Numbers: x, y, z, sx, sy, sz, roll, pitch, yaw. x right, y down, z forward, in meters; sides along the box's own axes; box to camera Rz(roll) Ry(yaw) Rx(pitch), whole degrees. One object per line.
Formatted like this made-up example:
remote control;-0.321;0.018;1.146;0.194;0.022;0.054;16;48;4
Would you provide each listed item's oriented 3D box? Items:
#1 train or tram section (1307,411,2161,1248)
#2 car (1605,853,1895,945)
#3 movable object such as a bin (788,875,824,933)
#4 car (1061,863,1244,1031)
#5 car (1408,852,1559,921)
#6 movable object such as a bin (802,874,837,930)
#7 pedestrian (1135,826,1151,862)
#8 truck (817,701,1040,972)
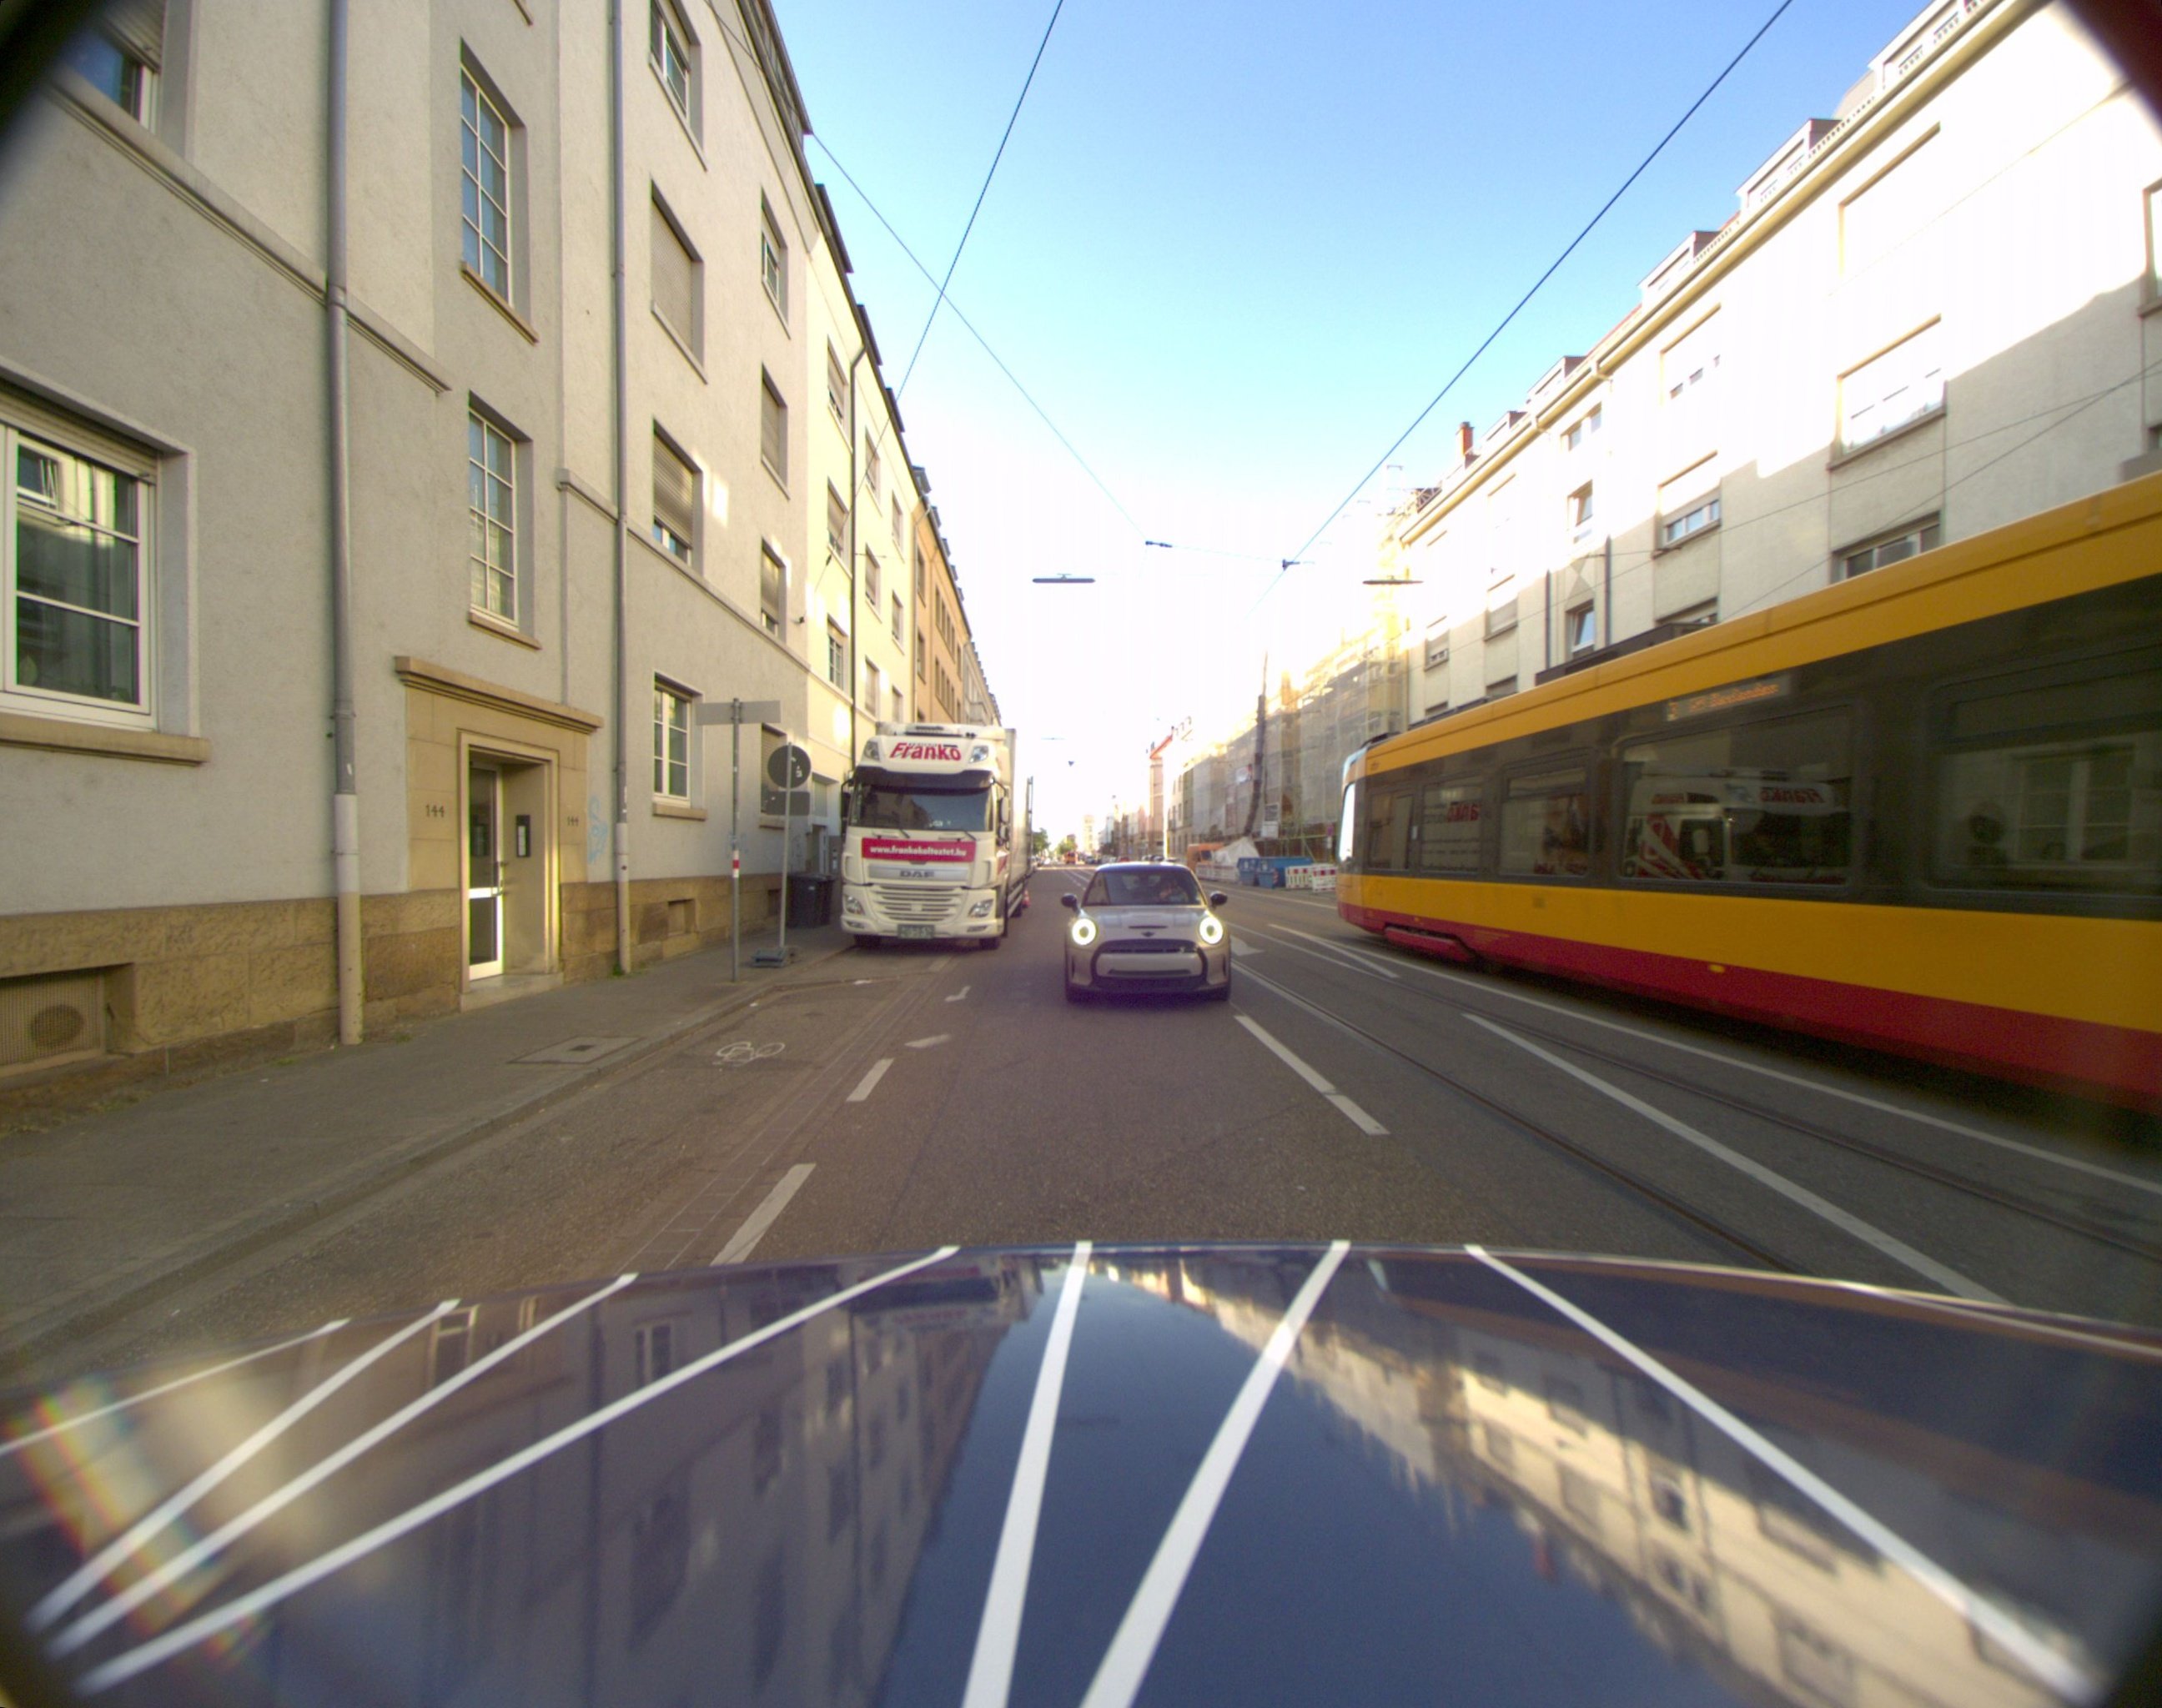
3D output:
train or tram section;5.987;-0.123;7.876;3.070;3.573;12.627;1;0;-2
car;11.089;0.655;12.961;1.751;1.269;3.488;-2;1;-4
movable object such as a bin;-5.415;0.984;14.982;0.512;1.085;0.495;-2;1;-4
car;0.659;0.881;9.025;1.692;1.495;4.000;0;0;0
car;10.618;0.780;20.441;1.712;1.582;4.112;-2;1;-3
movable object such as a bin;-5.359;0.978;15.597;0.512;1.085;0.495;-2;1;-4
pedestrian;7.660;-1.286;94.397;1.723;4.377;1.153;-2;1;2
truck;-2.582;-0.253;17.157;2.899;3.939;11.704;-2;0;-2
